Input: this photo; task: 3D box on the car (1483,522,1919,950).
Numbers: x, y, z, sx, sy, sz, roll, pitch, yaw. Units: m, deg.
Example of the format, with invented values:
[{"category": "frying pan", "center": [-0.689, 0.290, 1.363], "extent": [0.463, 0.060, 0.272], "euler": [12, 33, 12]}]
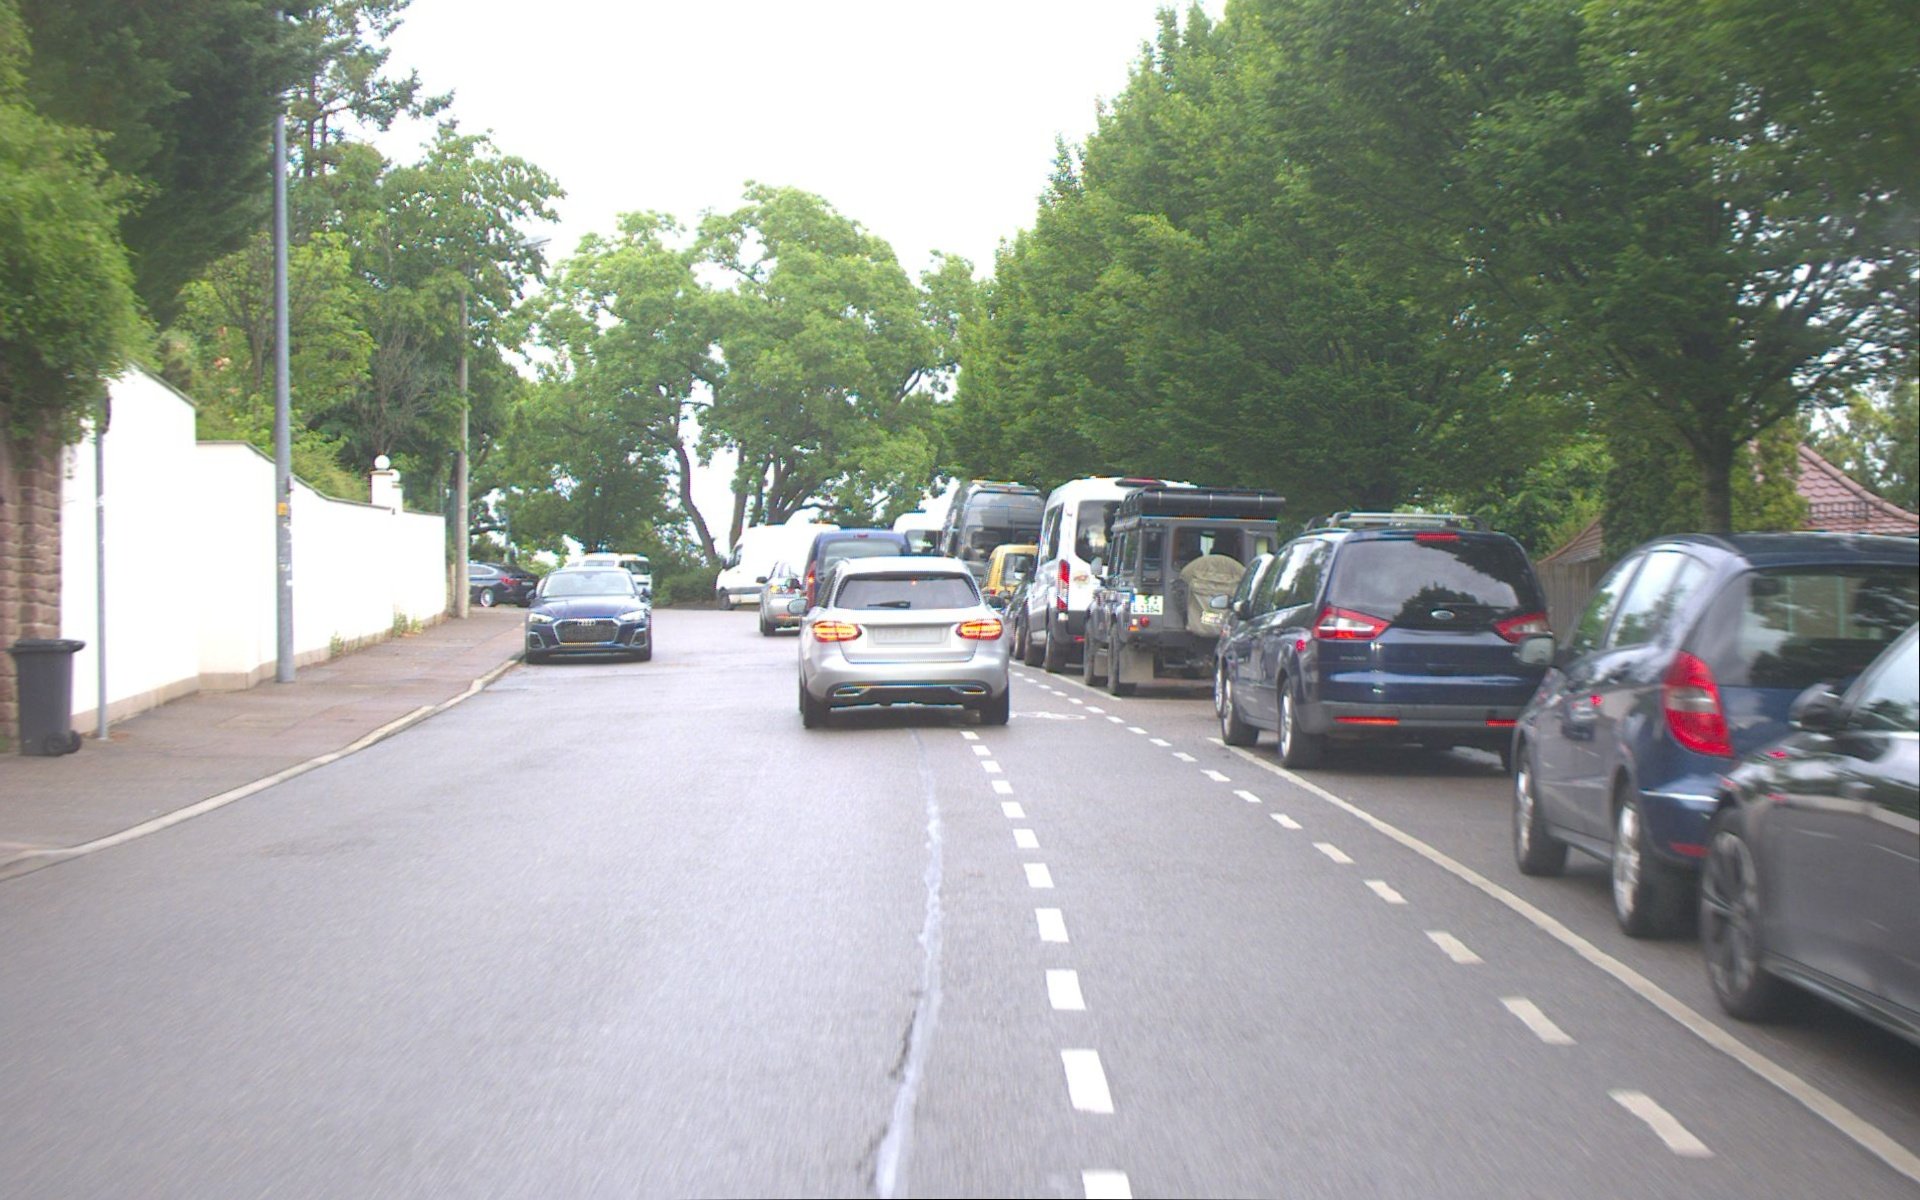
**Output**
[{"category": "car", "center": [3.392, 0.492, 14.742], "extent": [1.693, 1.565, 3.922], "euler": [1, 1, 1]}]

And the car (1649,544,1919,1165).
[{"category": "car", "center": [3.387, 0.646, 9.412], "extent": [1.993, 1.532, 4.850], "euler": [2, 1, 0]}]

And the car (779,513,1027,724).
[{"category": "car", "center": [-0.513, 0.119, 30.696], "extent": [2.025, 1.702, 4.216], "euler": [-1, 1, -1]}]

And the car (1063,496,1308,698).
[{"category": "car", "center": [2.415, -0.054, 38.217], "extent": [1.993, 2.045, 5.122], "euler": [2, 0, -4]}]

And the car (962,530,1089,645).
[{"category": "car", "center": [1.086, -0.238, 58.903], "extent": [1.727, 1.779, 4.276], "euler": [4, 1, -3]}]

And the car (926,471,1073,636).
[{"category": "car", "center": [0.680, -0.888, 65.007], "extent": [2.124, 2.877, 5.770], "euler": [3, 1, -5]}]

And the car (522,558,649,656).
[{"category": "car", "center": [-5.571, 0.072, 51.507], "extent": [1.748, 1.353, 4.426], "euler": [-1, 1, -5]}]

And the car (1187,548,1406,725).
[{"category": "car", "center": [3.099, 0.311, 32.100], "extent": [1.596, 1.553, 2.955], "euler": [1, 1, -3]}]

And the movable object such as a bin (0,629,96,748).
[{"category": "movable object such as a bin", "center": [-7.317, 0.702, 27.444], "extent": [0.658, 0.916, 0.677], "euler": [1, 0, -1]}]

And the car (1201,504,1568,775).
[{"category": "car", "center": [2.995, 0.230, 25.238], "extent": [1.780, 1.777, 4.680], "euler": [1, 1, -4]}]

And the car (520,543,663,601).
[{"category": "car", "center": [-12.163, -0.936, 113.434], "extent": [4.492, 1.692, 1.966], "euler": [3, 1, 37]}]

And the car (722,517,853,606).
[{"category": "car", "center": [-5.239, -1.180, 103.889], "extent": [2.125, 2.518, 4.497], "euler": [2, 1, -28]}]

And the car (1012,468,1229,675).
[{"category": "car", "center": [2.061, -0.397, 46.074], "extent": [2.173, 2.484, 6.034], "euler": [3, 1, -3]}]

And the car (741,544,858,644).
[{"category": "car", "center": [-2.889, -0.097, 62.351], "extent": [1.993, 1.702, 4.000], "euler": [2, 0, -2]}]

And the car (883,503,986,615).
[{"category": "car", "center": [-0.642, -0.972, 80.936], "extent": [2.064, 2.486, 4.760], "euler": [3, 1, -4]}]

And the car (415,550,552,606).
[{"category": "car", "center": [-16.230, -0.751, 116.997], "extent": [4.666, 1.692, 1.966], "euler": [3, 1, 41]}]

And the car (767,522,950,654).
[{"category": "car", "center": [-1.468, -0.157, 47.957], "extent": [1.993, 1.702, 4.001], "euler": [2, 0, -9]}]
